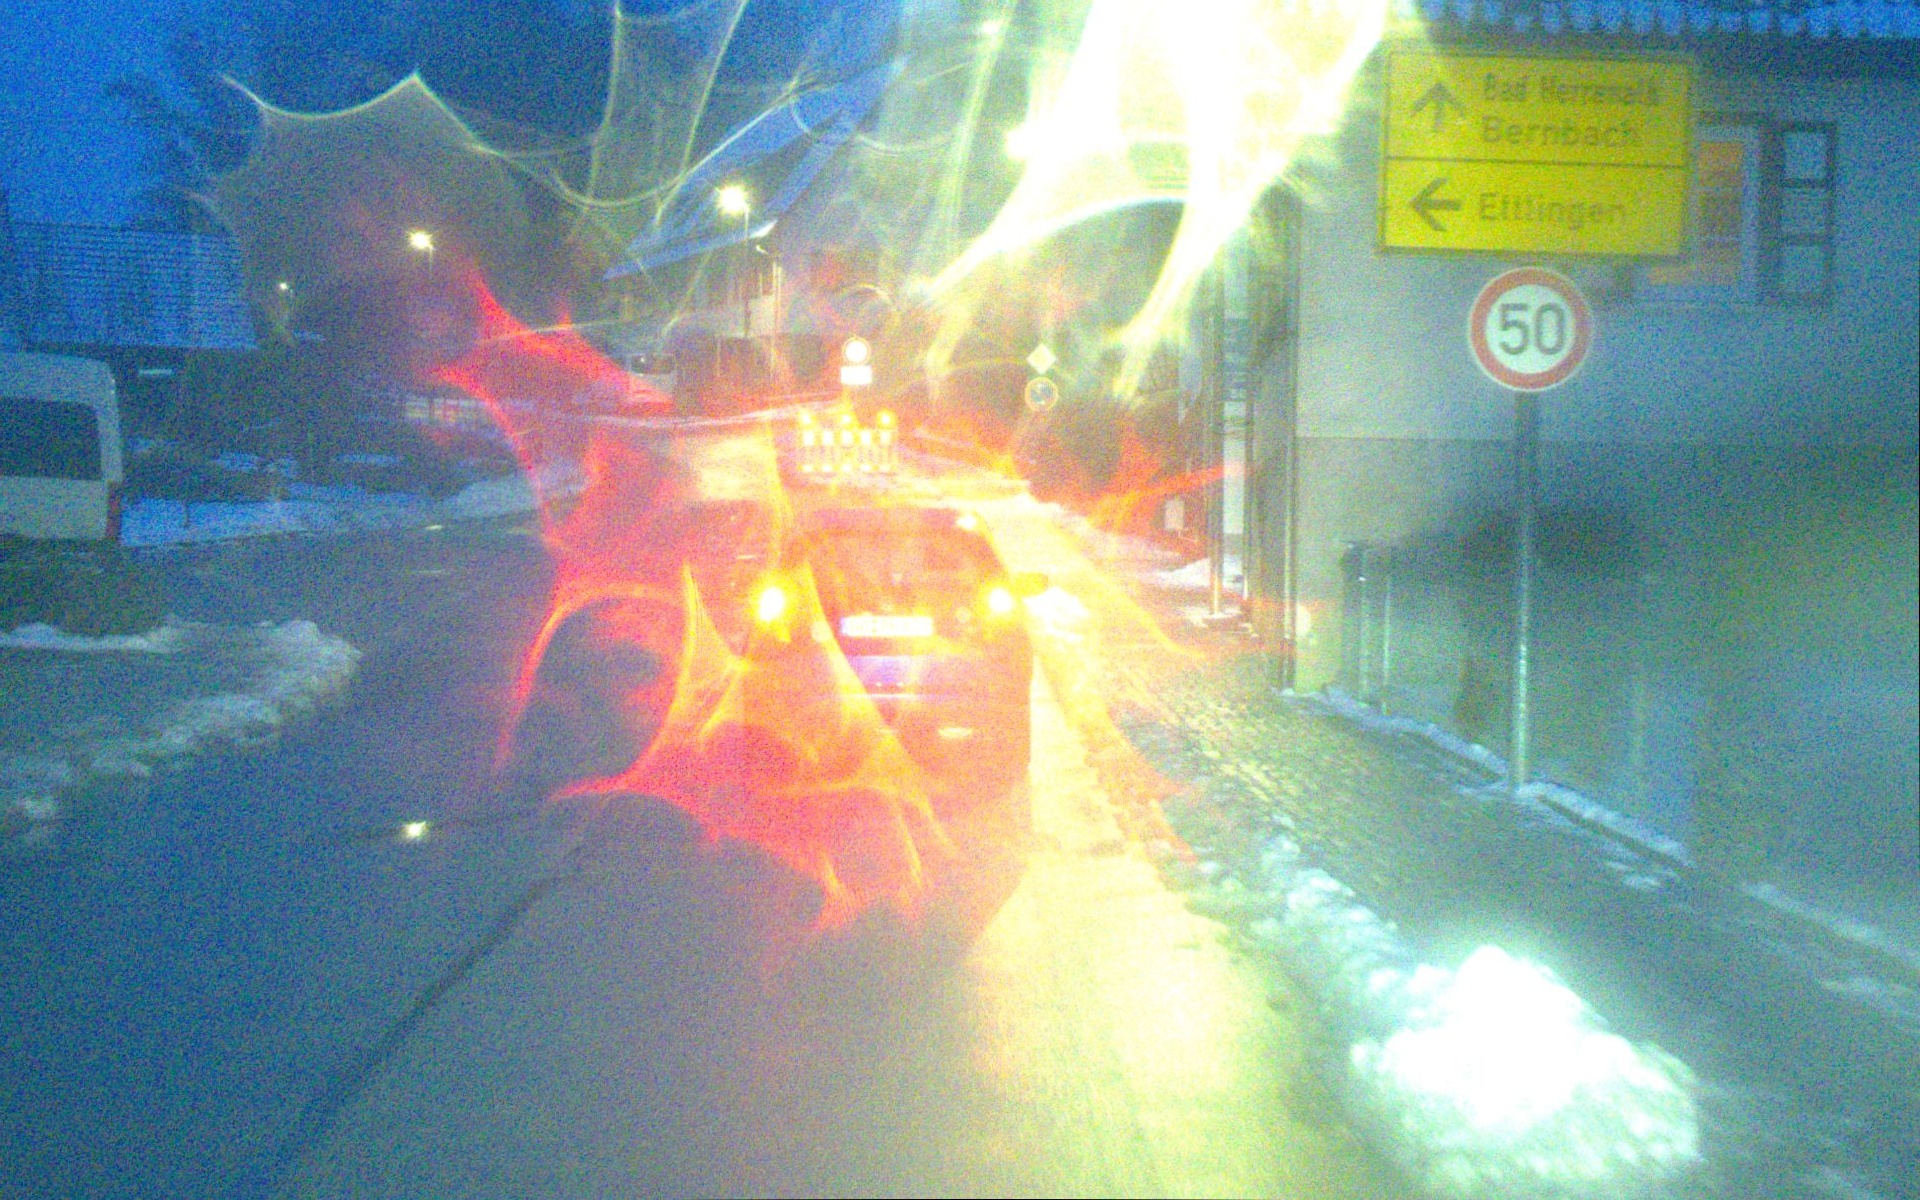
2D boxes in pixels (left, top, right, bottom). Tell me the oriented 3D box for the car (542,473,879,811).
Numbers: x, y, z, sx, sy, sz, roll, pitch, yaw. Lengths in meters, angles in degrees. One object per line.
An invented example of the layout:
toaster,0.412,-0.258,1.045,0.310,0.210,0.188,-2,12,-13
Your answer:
car,-1.510,0.165,20.788,1.822,1.790,3.579,-1,3,-4

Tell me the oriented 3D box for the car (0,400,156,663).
car,-11.095,-0.673,33.336,6.095,2.545,2.000,0,1,-32

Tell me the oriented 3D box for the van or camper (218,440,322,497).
van or camper,-14.452,-2.729,71.896,1.282,1.097,3.273,1,1,-27
